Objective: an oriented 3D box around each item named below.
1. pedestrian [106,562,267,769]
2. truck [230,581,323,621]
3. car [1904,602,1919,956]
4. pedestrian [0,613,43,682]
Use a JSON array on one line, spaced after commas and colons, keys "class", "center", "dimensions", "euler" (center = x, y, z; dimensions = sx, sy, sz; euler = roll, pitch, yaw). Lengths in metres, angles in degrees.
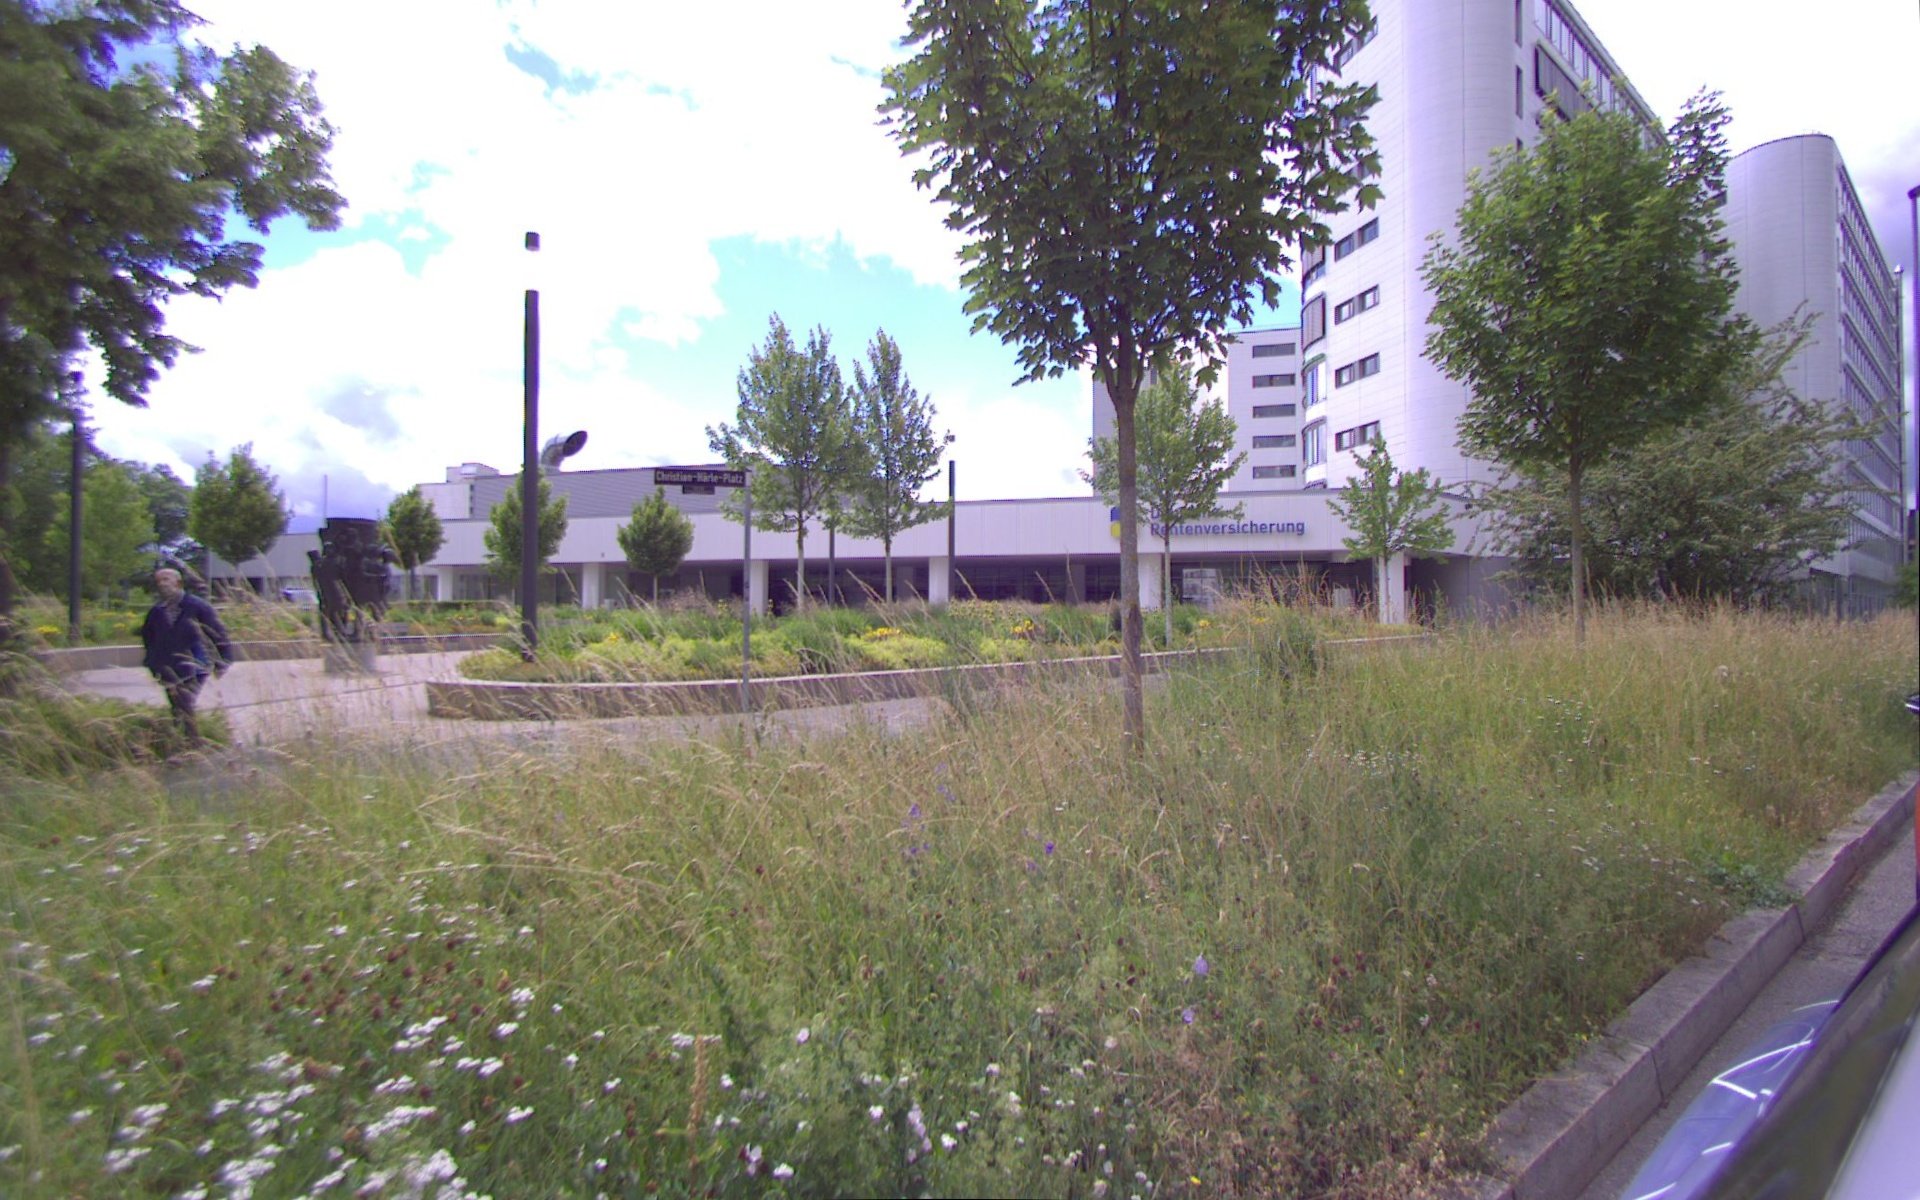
[{"class": "pedestrian", "center": [-6.488, 0.518, 8.519], "dimensions": [0.761, 1.646, 0.761], "euler": [0, 0, 14]}, {"class": "truck", "center": [-36.153, 0.065, 53.577], "dimensions": [3.941, 2.039, 1.991], "euler": [1, 0, 14]}, {"class": "car", "center": [5.803, 0.757, 4.644], "dimensions": [3.611, 1.434, 1.748], "euler": [0, 1, -41]}, {"class": "pedestrian", "center": [-17.414, 0.865, 18.693], "dimensions": [0.621, 1.238, 0.620], "euler": [1, 0, -36]}]
